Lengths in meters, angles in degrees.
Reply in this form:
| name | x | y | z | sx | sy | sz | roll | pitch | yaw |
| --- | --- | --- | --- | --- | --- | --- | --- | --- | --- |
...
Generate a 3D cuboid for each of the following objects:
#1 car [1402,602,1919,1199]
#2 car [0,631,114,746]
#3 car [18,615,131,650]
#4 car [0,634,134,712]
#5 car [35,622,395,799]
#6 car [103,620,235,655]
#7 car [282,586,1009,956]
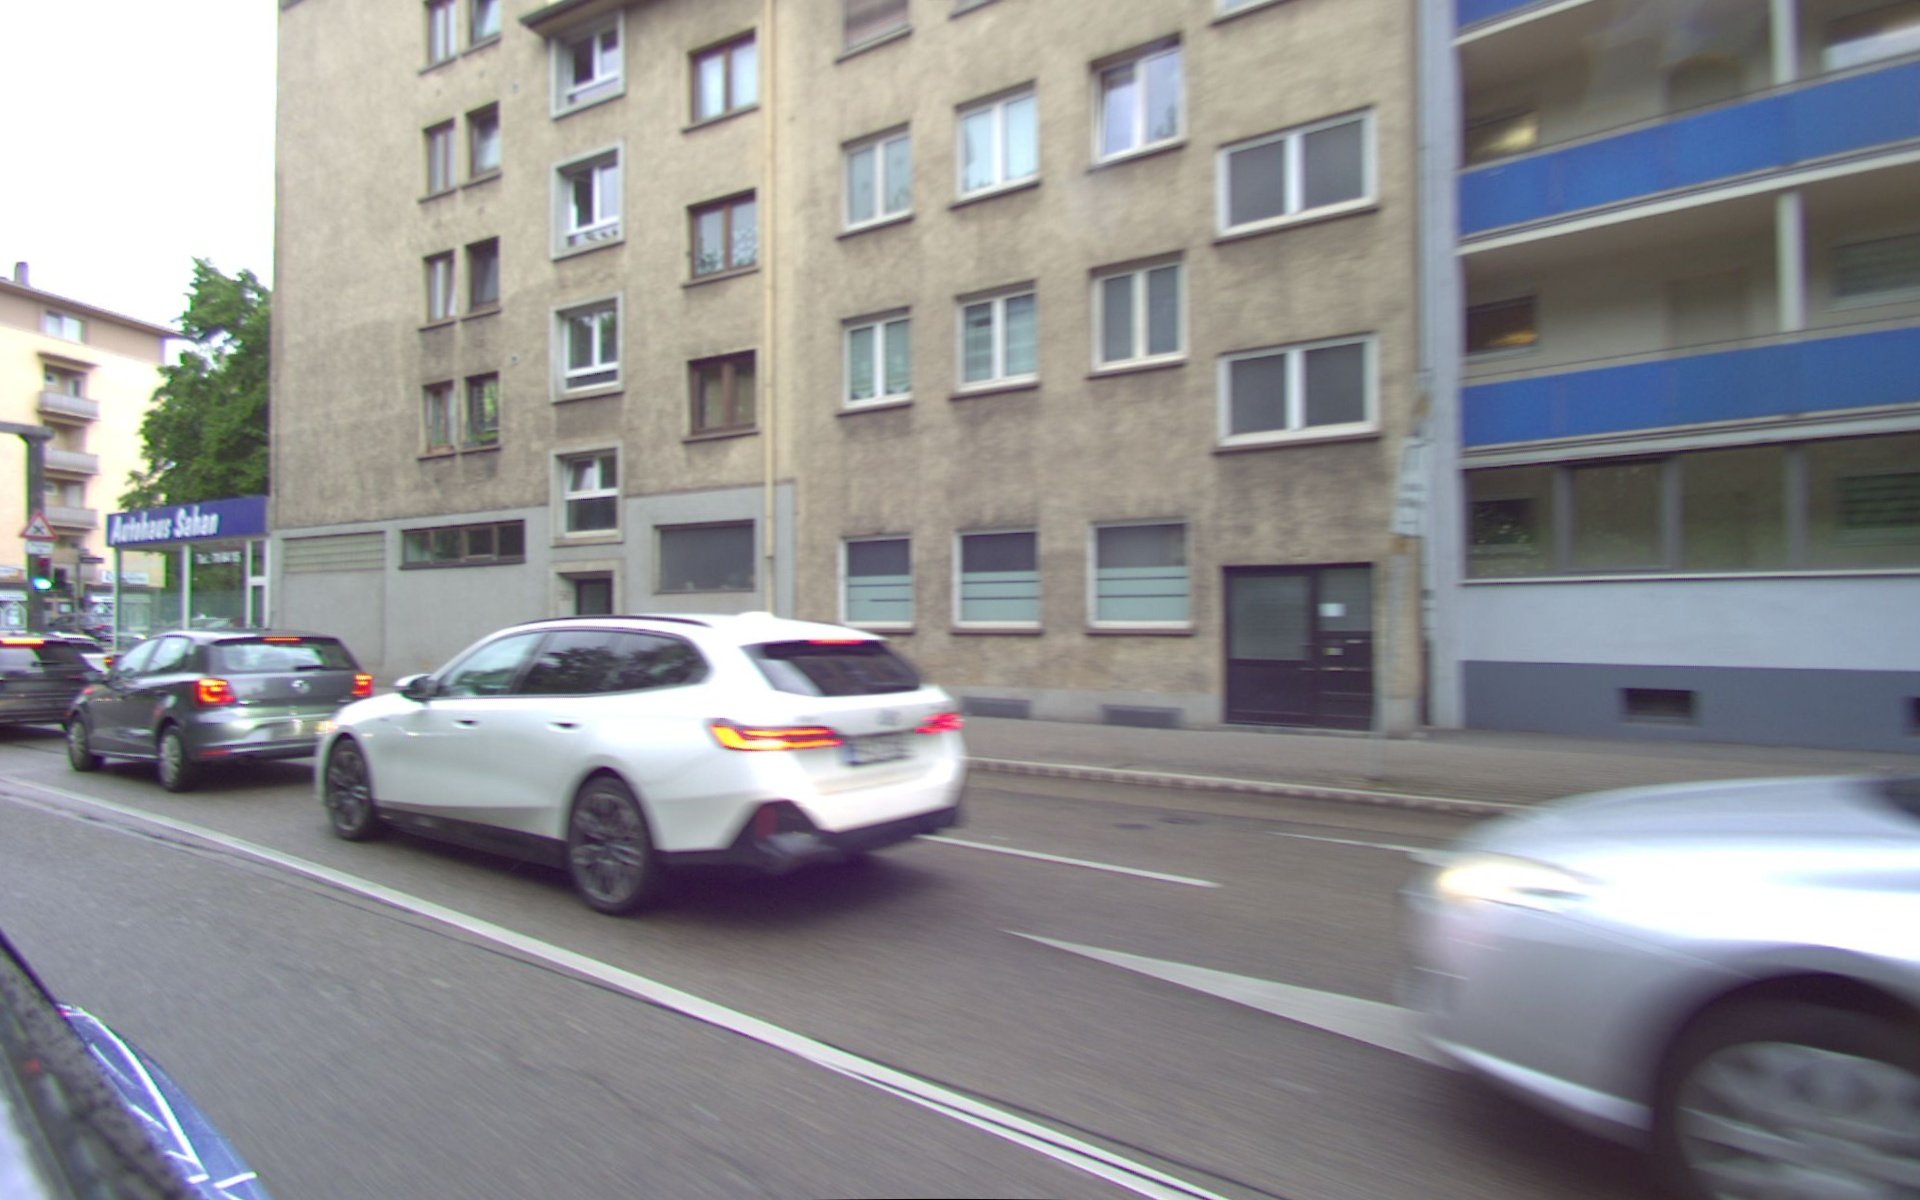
| name | x | y | z | sx | sy | sz | roll | pitch | yaw |
| --- | --- | --- | --- | --- | --- | --- | --- | --- | --- |
| car | 3.430 | 0.710 | 1.835 | 4.531 | 1.436 | 1.736 | -1 | -2 | 38 |
| car | -13.760 | 1.143 | 13.958 | 4.608 | 1.418 | 1.777 | -1 | -2 | 31 |
| car | -44.095 | 1.604 | 50.431 | 4.226 | 1.660 | 1.758 | 1 | -1 | 4 |
| car | -18.878 | 1.432 | 20.701 | 3.981 | 1.467 | 1.647 | -1 | -3 | 28 |
| car | -7.481 | 0.966 | 10.085 | 3.809 | 1.458 | 1.666 | -1 | -3 | 34 |
| car | -36.628 | 1.700 | 46.986 | 1.991 | 1.474 | 4.462 | -1 | -1 | 29 |
| car | -2.265 | 0.781 | 6.441 | 5.019 | 1.528 | 1.803 | -1 | -3 | 37 |
